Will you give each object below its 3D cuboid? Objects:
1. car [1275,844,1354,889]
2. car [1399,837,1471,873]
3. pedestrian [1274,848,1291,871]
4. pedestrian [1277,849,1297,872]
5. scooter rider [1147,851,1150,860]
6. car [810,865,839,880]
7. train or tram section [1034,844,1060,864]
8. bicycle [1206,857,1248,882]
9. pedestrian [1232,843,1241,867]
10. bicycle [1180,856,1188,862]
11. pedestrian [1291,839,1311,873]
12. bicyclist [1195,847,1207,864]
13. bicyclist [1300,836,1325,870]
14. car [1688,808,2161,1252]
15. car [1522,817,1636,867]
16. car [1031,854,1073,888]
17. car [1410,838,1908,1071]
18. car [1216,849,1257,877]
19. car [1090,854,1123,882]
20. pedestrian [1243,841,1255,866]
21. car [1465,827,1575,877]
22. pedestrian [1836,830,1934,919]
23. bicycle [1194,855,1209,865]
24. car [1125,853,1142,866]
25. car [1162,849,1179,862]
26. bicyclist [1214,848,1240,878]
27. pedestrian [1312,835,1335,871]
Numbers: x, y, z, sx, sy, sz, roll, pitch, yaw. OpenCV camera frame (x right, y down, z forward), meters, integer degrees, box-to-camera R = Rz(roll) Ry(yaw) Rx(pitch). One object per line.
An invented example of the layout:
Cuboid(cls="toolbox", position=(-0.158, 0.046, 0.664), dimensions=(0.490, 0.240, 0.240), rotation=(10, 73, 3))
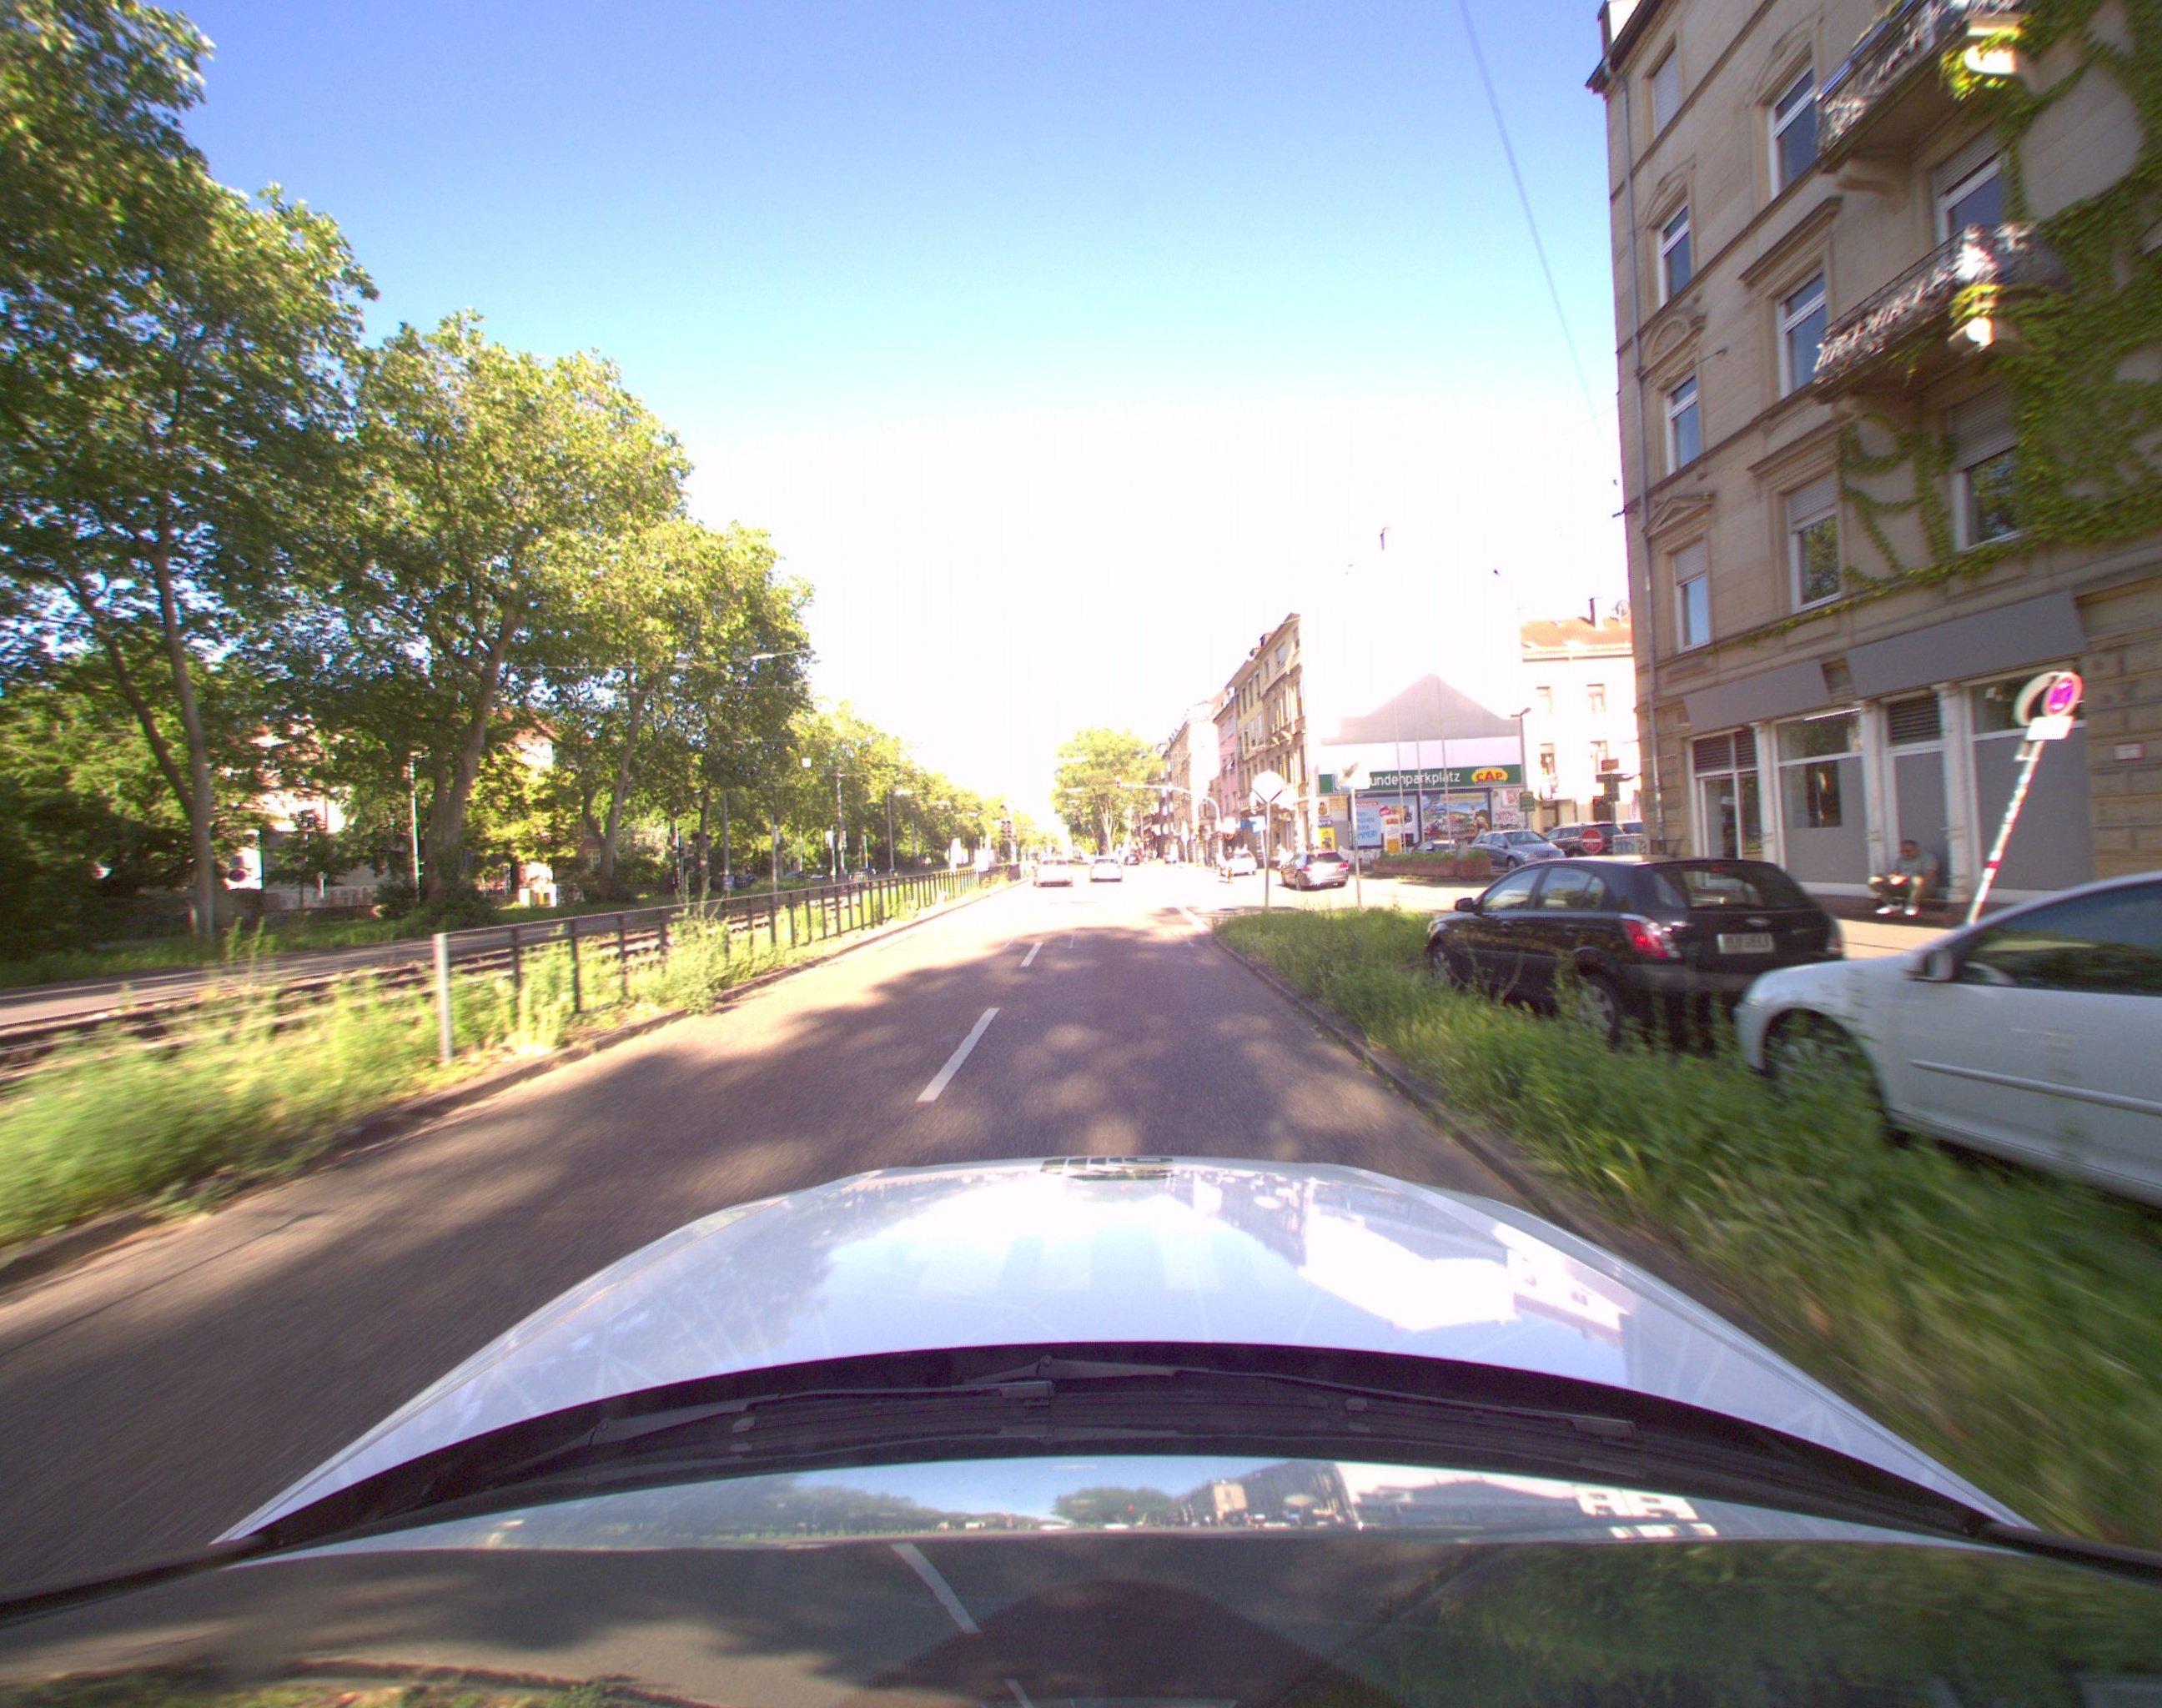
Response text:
Cuboid(cls="car", position=(9.143, 0.470, 32.330), dimensions=(1.826, 1.487, 4.736), rotation=(-5, 0, 2))
Cuboid(cls="car", position=(15.629, 0.049, 36.151), dimensions=(1.554, 1.485, 3.392), rotation=(-3, 0, -2))
Cuboid(cls="pedestrian", position=(11.664, 0.299, 47.178), dimensions=(0.795, 1.281, 0.608), rotation=(-3, 0, -1))
Cuboid(cls="pedestrian", position=(11.767, 0.368, 46.519), dimensions=(0.899, 1.281, 0.655), rotation=(-5, 0, -4))
Cuboid(cls="scooter rider", position=(11.171, 0.304, 134.200), dimensions=(0.463, 1.505, 0.812), rotation=(-3, 0, 4))
Cuboid(cls="car", position=(-26.987, 1.927, 85.722), dimensions=(1.664, 1.509, 4.144), rotation=(-2, 0, 0))
Cuboid(cls="train or tram section", position=(-6.819, -0.035, 167.873), dimensions=(3.954, 3.865, 17.494), rotation=(-2, 0, 2))
Cuboid(cls="bicycle", position=(7.080, 0.754, 39.525), dimensions=(0.763, 1.102, 1.930), rotation=(-2, 0, -42))
Cuboid(cls="pedestrian", position=(11.367, 0.060, 59.464), dimensions=(0.547, 1.708, 0.389), rotation=(-3, 0, 4))
Cuboid(cls="bicycle", position=(12.827, 0.615, 101.490), dimensions=(0.752, 0.770, 1.945), rotation=(-2, 0, 0))
Cuboid(cls="pedestrian", position=(11.618, 0.095, 43.045), dimensions=(0.762, 1.755, 0.510), rotation=(-3, 0, -19))
Cuboid(cls="bicyclist", position=(10.942, 0.141, 74.349), dimensions=(0.541, 1.502, 0.967), rotation=(-3, 0, 42))
Cuboid(cls="bicyclist", position=(10.530, -0.062, 37.072), dimensions=(0.674, 1.446, 1.182), rotation=(-6, 0, 2))
Cuboid(cls="car", position=(4.559, 0.603, 2.956), dimensions=(1.733, 1.517, 3.999), rotation=(0, 0, 0))
Cuboid(cls="car", position=(18.661, -0.401, 30.724), dimensions=(1.740, 1.693, 3.998), rotation=(-3, 0, -1))
Cuboid(cls="car", position=(-1.444, 0.783, 39.361), dimensions=(1.608, 1.467, 3.879), rotation=(-2, 0, -8))
Cuboid(cls="car", position=(4.598, 0.661, 7.328), dimensions=(1.635, 1.517, 3.999), rotation=(0, 0, 0))
Cuboid(cls="car", position=(9.021, 0.497, 47.450), dimensions=(1.557, 1.415, 4.005), rotation=(-6, 0, 1))
Cuboid(cls="car", position=(1.392, 0.743, 44.860), dimensions=(1.734, 1.467, 4.001), rotation=(-1, 0, 1))
Cuboid(cls="pedestrian", position=(12.219, -0.030, 59.225), dimensions=(0.670, 1.806, 0.531), rotation=(-3, 0, 1))
Cuboid(cls="car", position=(16.034, -0.053, 30.000), dimensions=(1.740, 1.644, 3.996), rotation=(-3, 0, -2))
Cuboid(cls="pedestrian", position=(12.005, 0.301, 12.188), dimensions=(0.712, 1.261, 0.713), rotation=(-2, 0, 1))
Cuboid(cls="bicycle", position=(11.028, 0.566, 74.419), dimensions=(0.646, 0.903, 1.346), rotation=(-2, 0, 43))
Cuboid(cls="car", position=(6.123, 0.673, 95.446), dimensions=(1.730, 1.433, 3.677), rotation=(-1, 0, 0))
Cuboid(cls="car", position=(10.833, 0.207, 98.930), dimensions=(1.729, 1.519, 3.637), rotation=(-1, 0, 1))
Cuboid(cls="bicyclist", position=(7.088, 0.441, 39.517), dimensions=(0.751, 1.462, 0.940), rotation=(0, -1, -44))
Cuboid(cls="pedestrian", position=(12.718, -0.073, 42.729), dimensions=(0.762, 1.841, 0.743), rotation=(-3, 0, -18))
